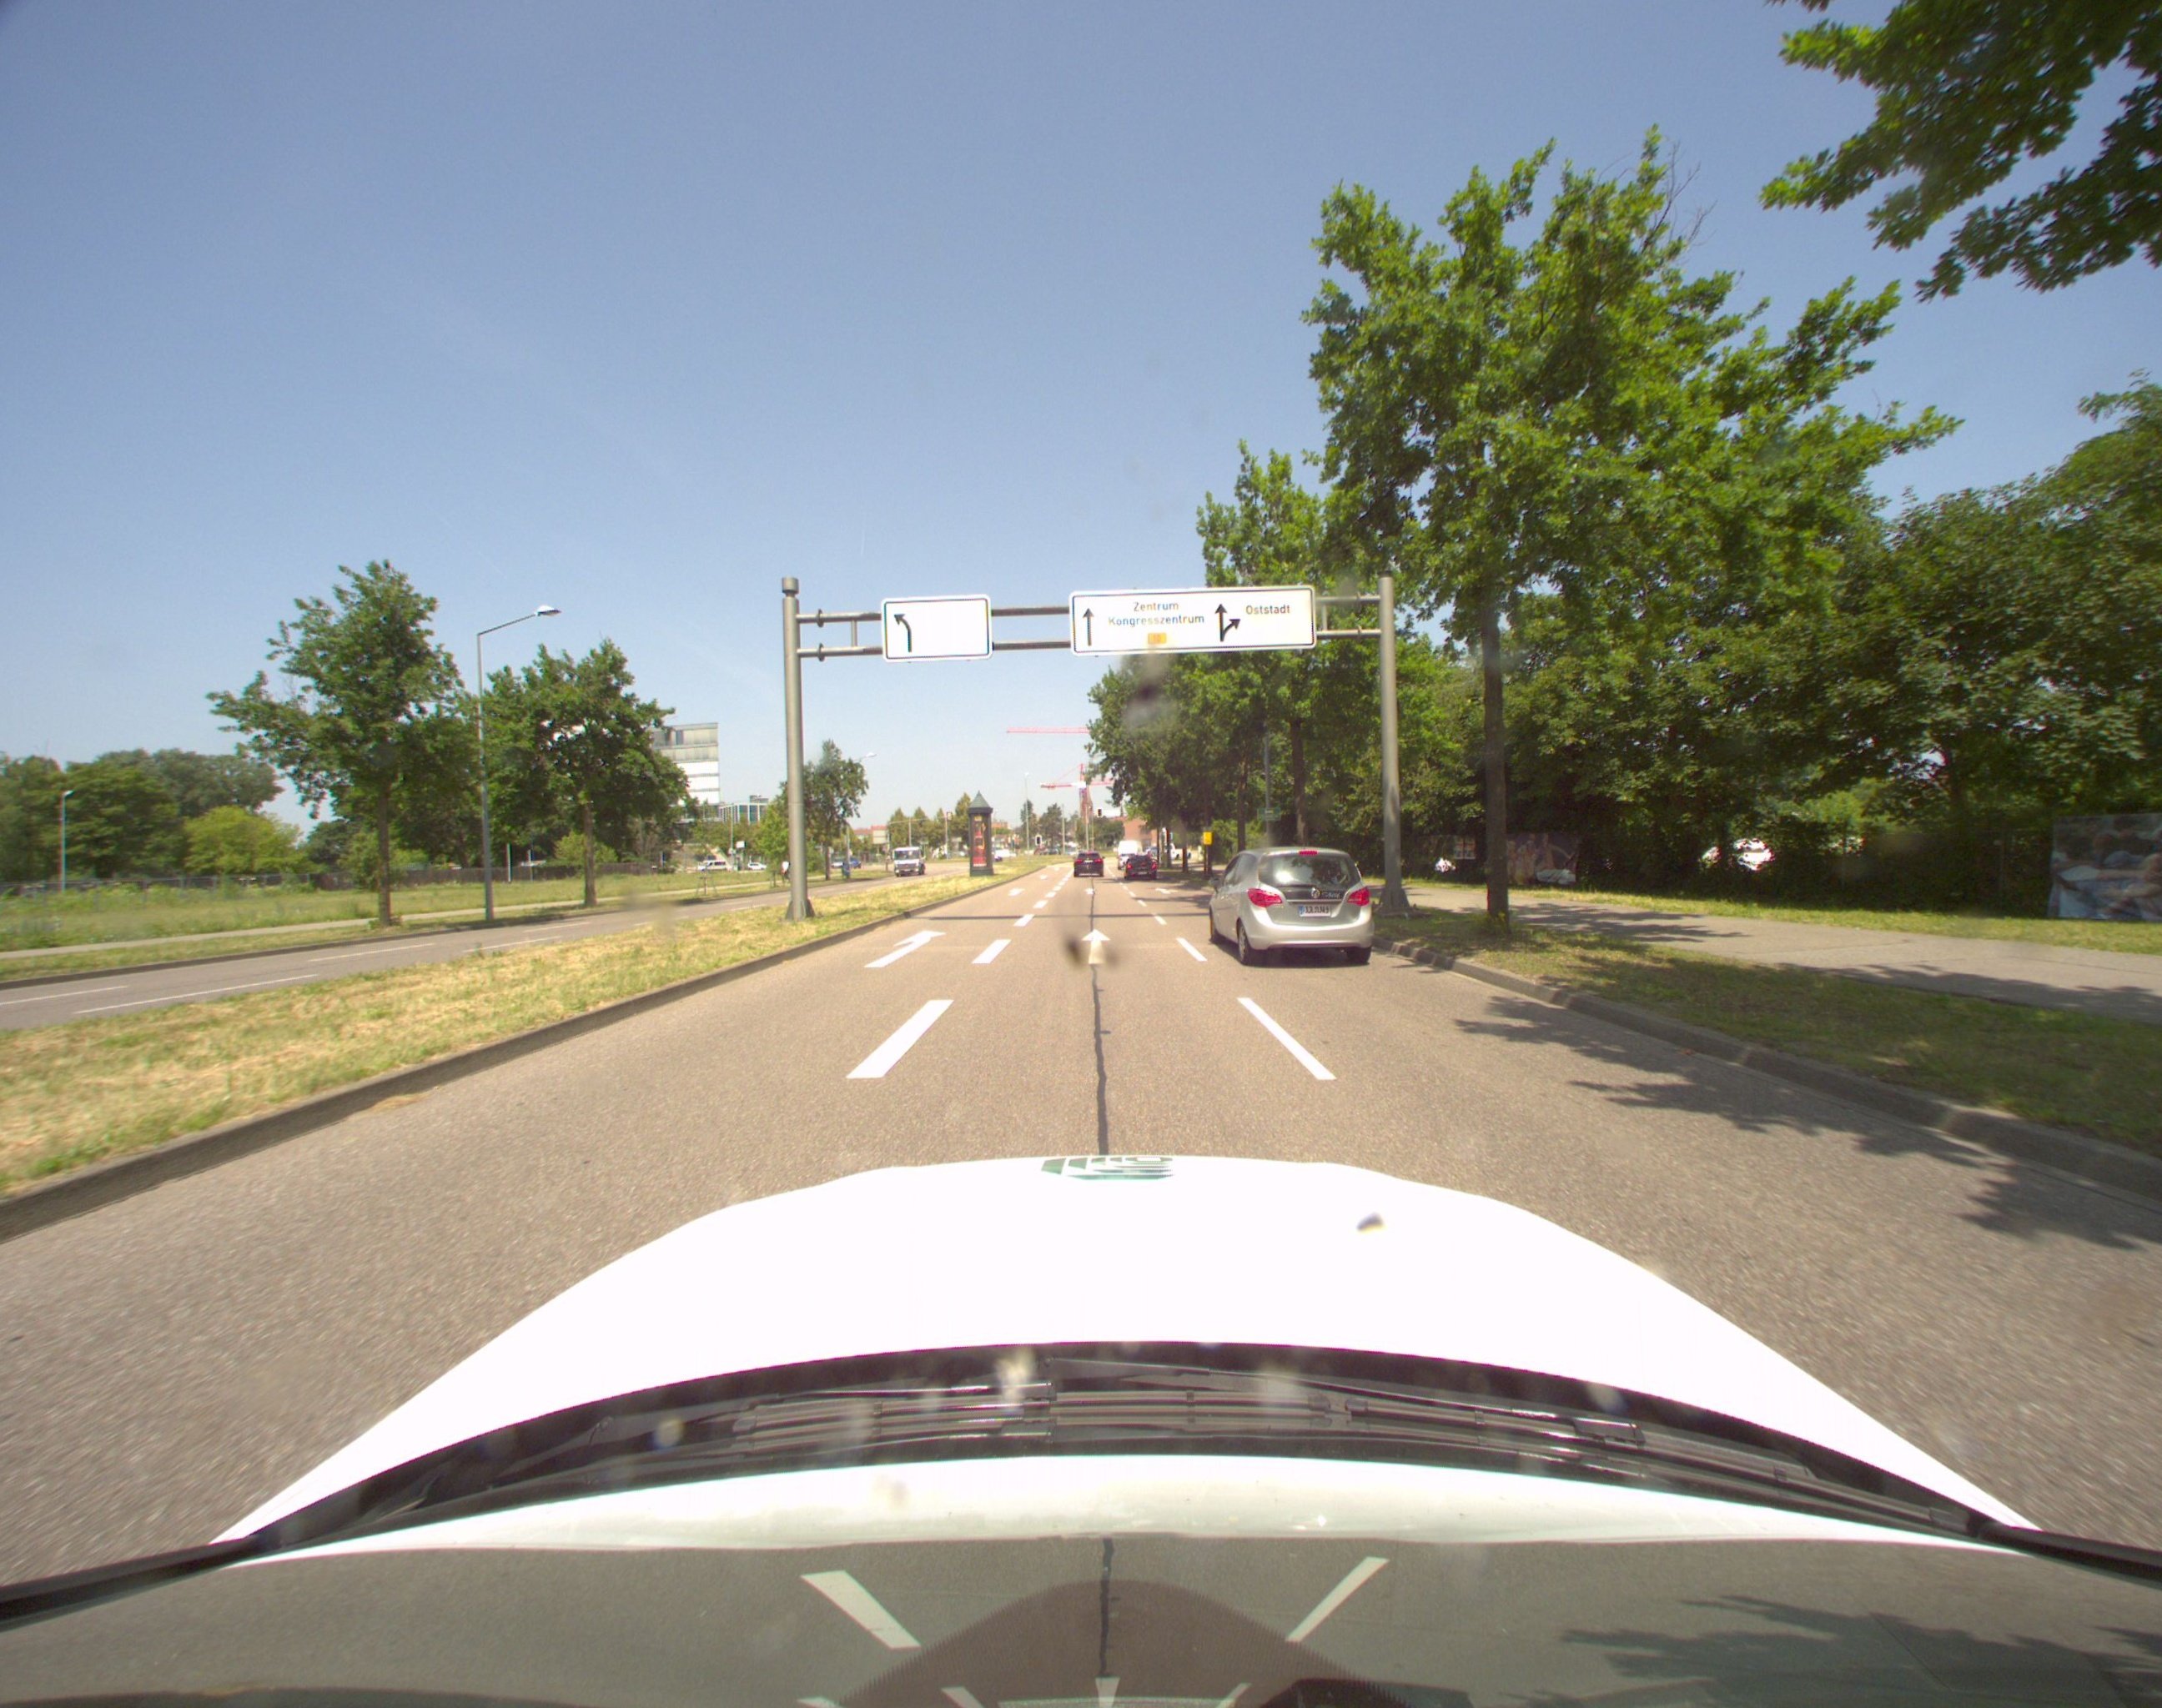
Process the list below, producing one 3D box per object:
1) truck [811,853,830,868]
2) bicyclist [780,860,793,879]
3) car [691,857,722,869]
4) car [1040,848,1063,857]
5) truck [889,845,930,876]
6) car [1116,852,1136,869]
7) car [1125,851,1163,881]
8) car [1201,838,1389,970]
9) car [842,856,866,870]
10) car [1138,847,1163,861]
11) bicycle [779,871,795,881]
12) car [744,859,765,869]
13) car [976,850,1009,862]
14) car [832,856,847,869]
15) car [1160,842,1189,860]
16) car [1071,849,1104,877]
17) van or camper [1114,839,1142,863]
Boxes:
[{"bbox_3d":[-49.221,1.255,153.748,2.007,2.739,4.982,-3,0,-32],"label":"truck"},{"bbox_3d":[-23.516,1.249,65.015,0.620,1.489,0.758,-2,0,4],"label":"bicyclist"},{"bbox_3d":[-64.834,1.504,141.019,1.974,1.878,4.317,-2,0,37],"label":"car"},{"bbox_3d":[-5.740,-0.305,158.592,3.964,1.464,2.005,-2,0,8],"label":"car"},{"bbox_3d":[-15.673,0.565,74.710,2.633,2.576,6.311,-2,0,-3],"label":"truck"},{"bbox_3d":[3.861,0.527,70.234,1.648,1.356,4.463,-2,0,2],"label":"car"},{"bbox_3d":[3.589,0.649,47.173,2.006,1.517,4.464,-2,0,3],"label":"car"},{"bbox_3d":[2.990,0.621,12.225,1.786,1.612,3.891,-2,0,0],"label":"car"},{"bbox_3d":[-28.567,1.163,102.433,2.005,1.596,3.964,-2,0,-28],"label":"car"},{"bbox_3d":[9.481,0.015,110.741,1.845,1.750,4.025,-2,0,29],"label":"car"},{"bbox_3d":[-23.476,1.733,65.122,0.479,0.715,1.852,-2,0,4],"label":"bicycle"},{"bbox_3d":[-71.228,2.224,177.693,4.001,1.816,1.986,-2,-7,-20],"label":"car"},{"bbox_3d":[-11.633,0.218,107.249,3.972,1.453,2.001,-2,0,1],"label":"car"},{"bbox_3d":[-37.007,1.288,124.757,1.999,1.815,3.976,-2,0,-18],"label":"car"},{"bbox_3d":[11.283,-0.349,98.064,1.974,2.013,4.025,-2,0,29],"label":"car"},{"bbox_3d":[0.439,0.522,53.011,1.990,1.689,4.036,-1,1,2],"label":"car"},{"bbox_3d":[4.940,-0.301,84.433,2.480,2.291,4.932,-2,0,8],"label":"van or camper"}]
